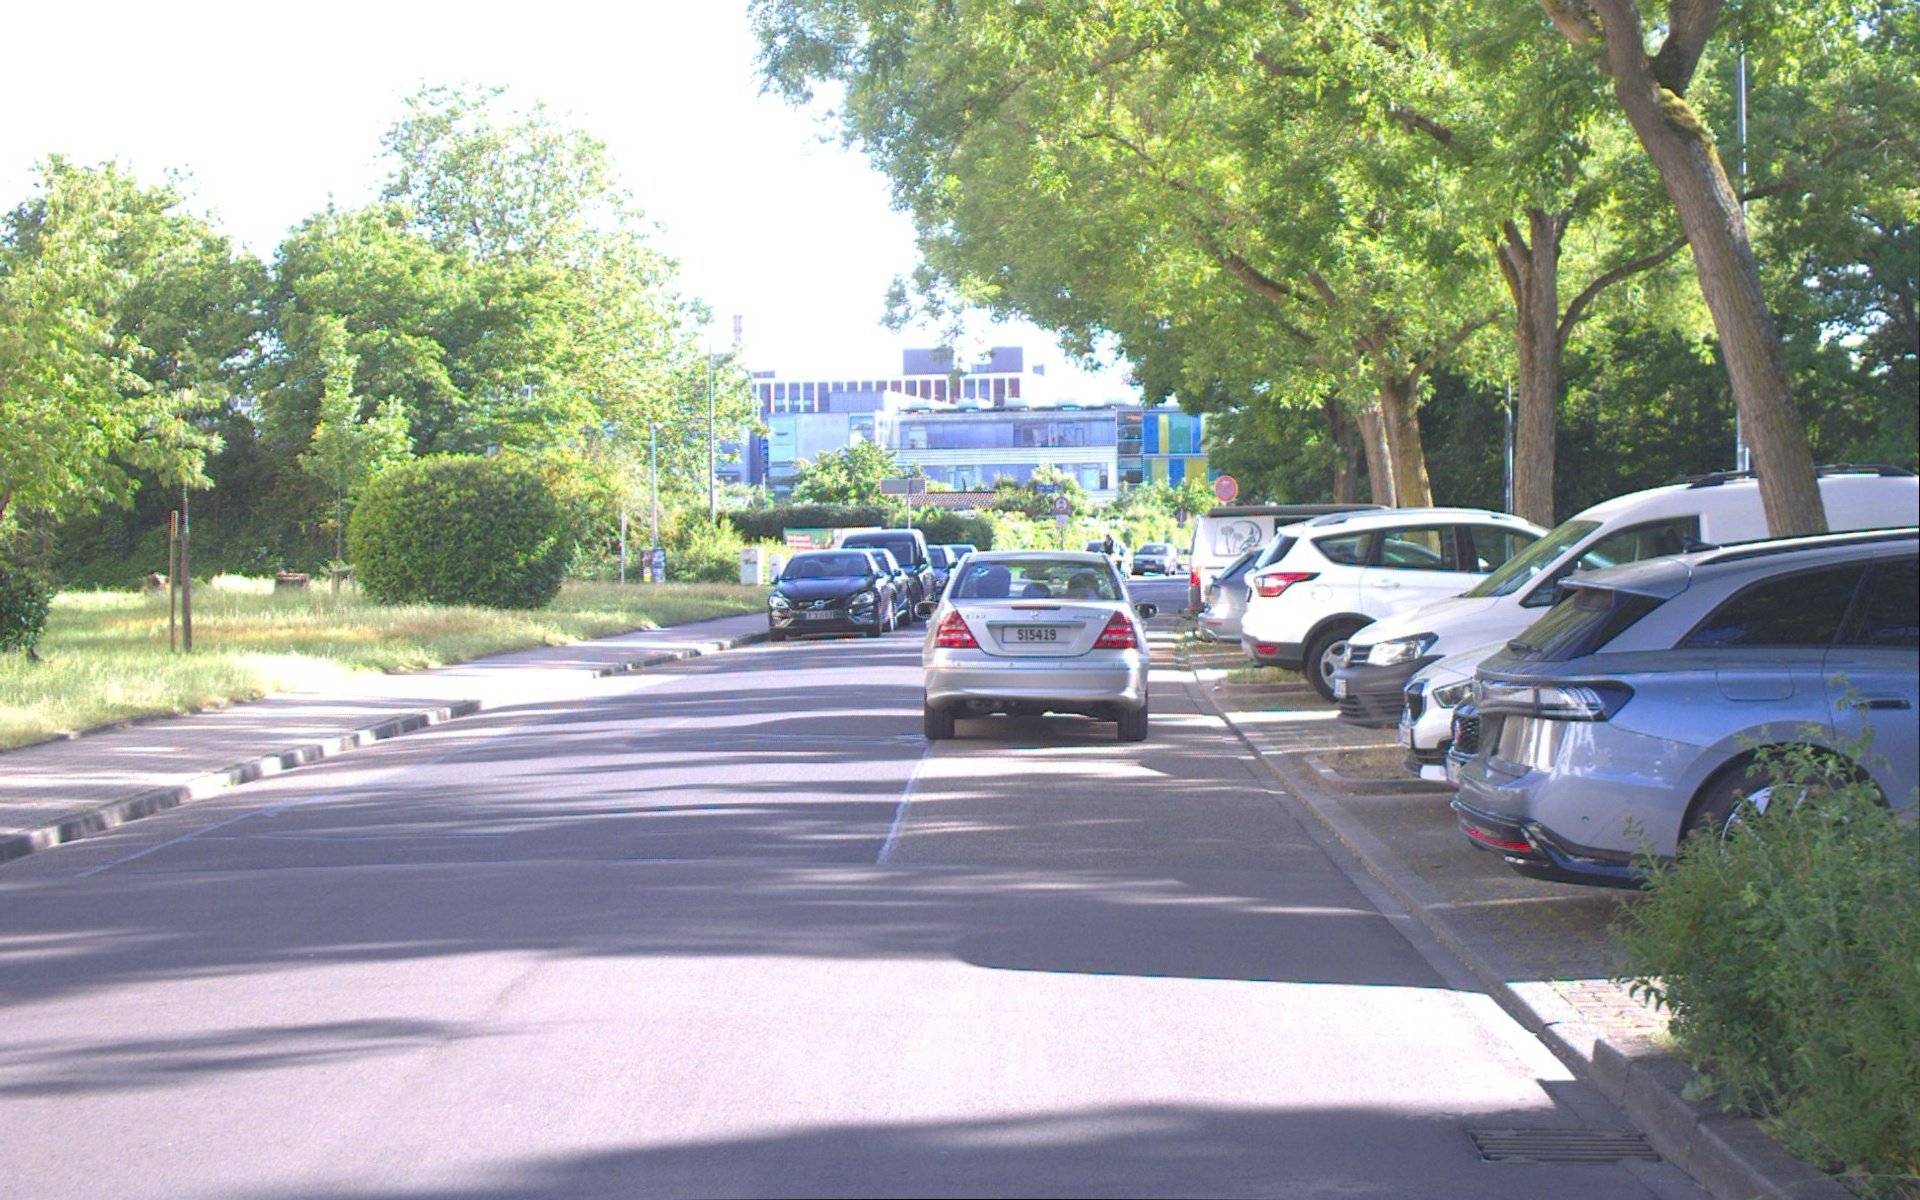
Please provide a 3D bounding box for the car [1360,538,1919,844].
[{"bbox_3d":[4.602,0.444,19.205,4.444,1.512,2.000,-2,1,0],"label":"car"}]

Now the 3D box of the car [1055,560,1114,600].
[{"bbox_3d":[4.778,-0.766,131.712,1.894,1.497,3.655,0,1,8],"label":"car"}]

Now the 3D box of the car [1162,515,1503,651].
[{"bbox_3d":[5.811,-0.278,54.106,5.218,2.052,2.000,0,1,4],"label":"car"}]

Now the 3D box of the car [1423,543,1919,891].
[{"bbox_3d":[4.526,0.512,16.436,4.427,1.566,1.737,0,1,2],"label":"car"}]

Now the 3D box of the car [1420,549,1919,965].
[{"bbox_3d":[4.403,0.563,13.958,4.782,1.544,2.012,-1,1,0],"label":"car"}]

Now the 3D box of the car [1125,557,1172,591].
[{"bbox_3d":[8.646,-1.197,157.469,1.894,1.497,3.655,0,1,8],"label":"car"}]

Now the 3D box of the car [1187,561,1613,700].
[{"bbox_3d":[5.282,0.355,41.719,4.884,1.622,2.000,0,0,-1],"label":"car"}]

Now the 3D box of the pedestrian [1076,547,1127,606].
[{"bbox_3d":[5.053,-0.846,122.397,1.575,2.082,1.723,0,1,11],"label":"pedestrian"}]

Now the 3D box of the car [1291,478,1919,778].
[{"bbox_3d":[4.930,0.155,24.034,4.883,1.917,2.000,-1,1,-5],"label":"car"}]

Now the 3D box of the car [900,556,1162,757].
[{"bbox_3d":[0.610,0.419,26.514,1.733,1.429,3.437,1,0,6],"label":"car"}]

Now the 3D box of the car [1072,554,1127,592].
[{"bbox_3d":[5.691,-1.100,139.950,1.894,1.497,3.655,0,1,8],"label":"car"}]

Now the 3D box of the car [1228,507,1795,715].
[{"bbox_3d":[4.958,0.081,31.482,4.884,1.718,2.000,-1,1,3],"label":"car"}]

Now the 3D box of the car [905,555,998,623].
[{"bbox_3d":[-0.170,-0.284,81.791,1.750,1.515,4.192,-1,1,6],"label":"car"}]

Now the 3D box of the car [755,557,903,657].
[{"bbox_3d":[-2.120,0.085,56.653,1.913,1.485,3.836,-3,0,5],"label":"car"}]
